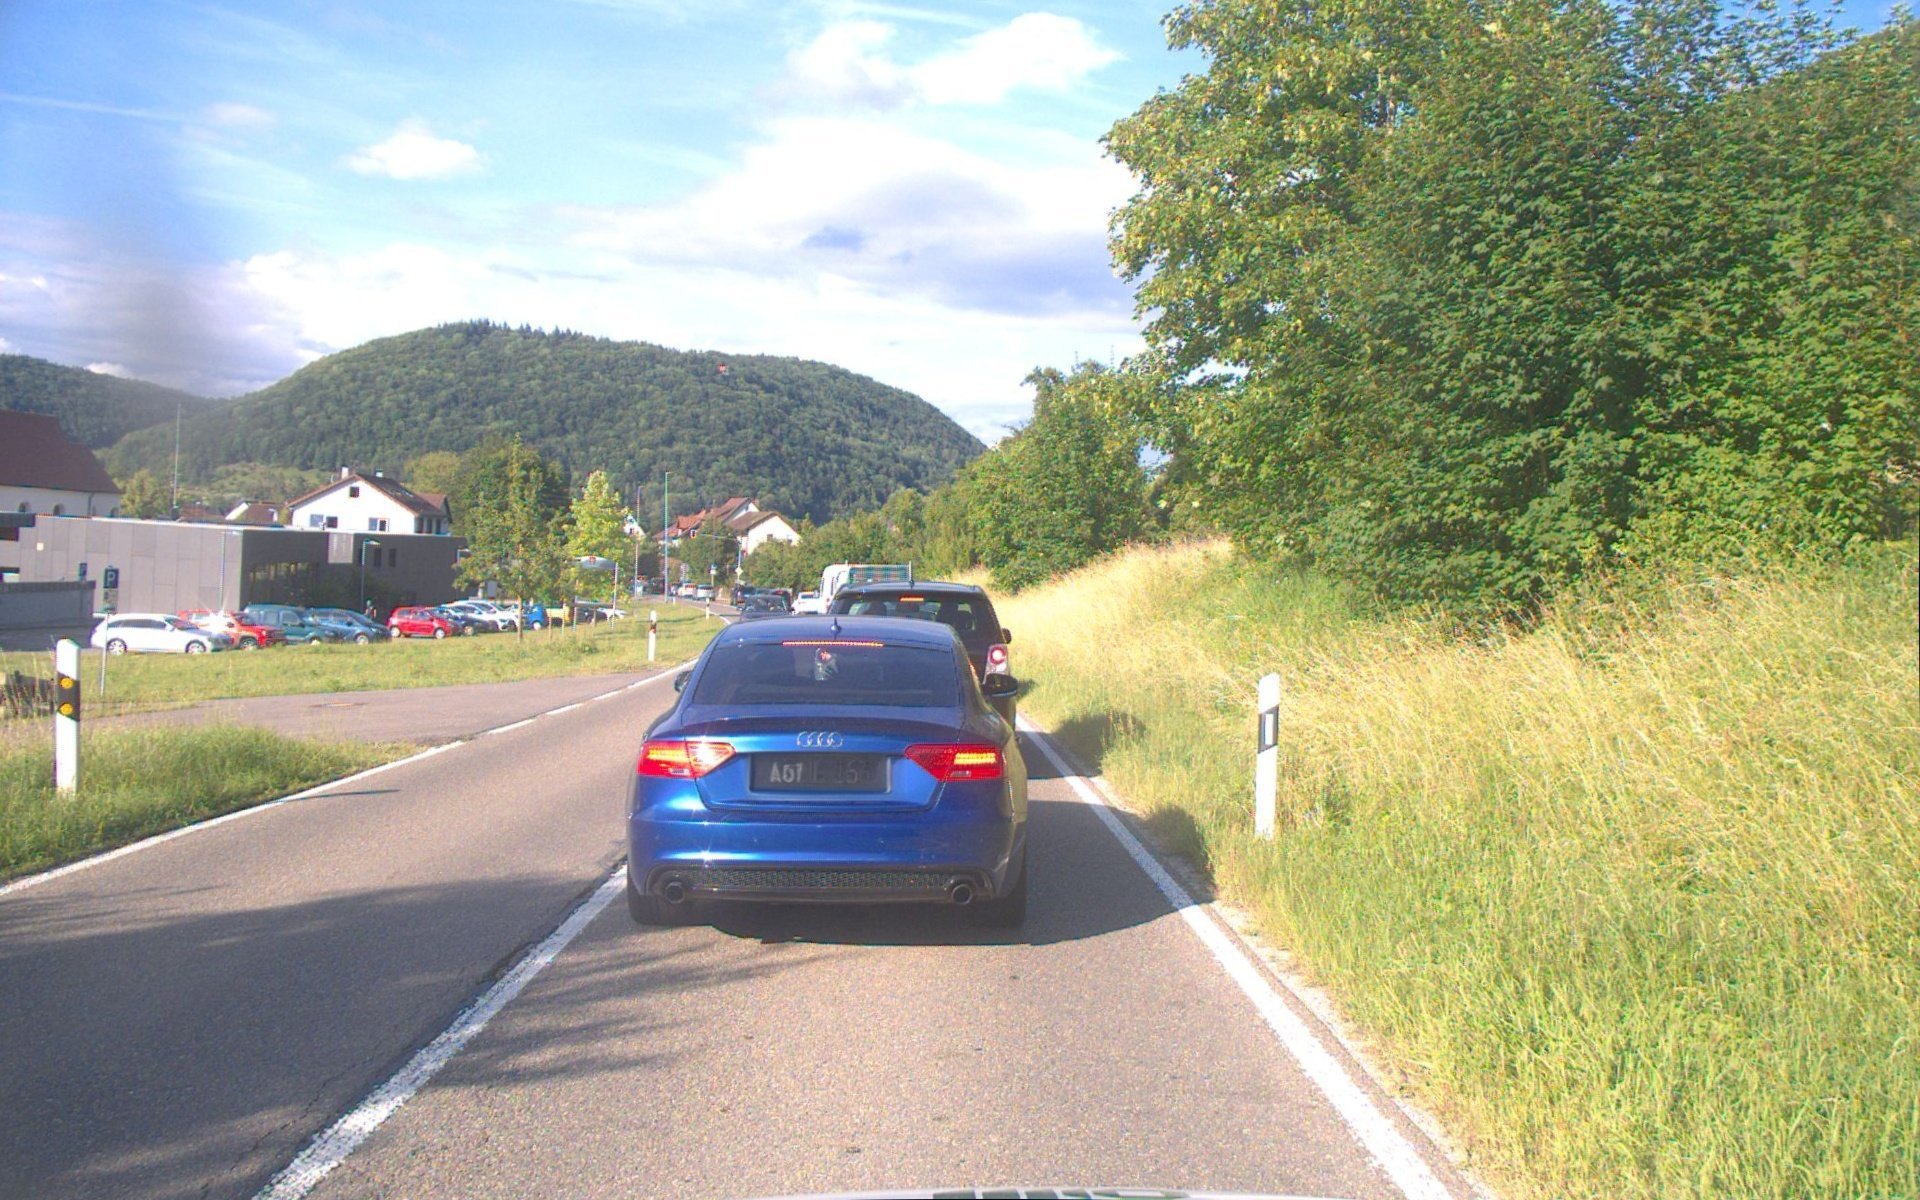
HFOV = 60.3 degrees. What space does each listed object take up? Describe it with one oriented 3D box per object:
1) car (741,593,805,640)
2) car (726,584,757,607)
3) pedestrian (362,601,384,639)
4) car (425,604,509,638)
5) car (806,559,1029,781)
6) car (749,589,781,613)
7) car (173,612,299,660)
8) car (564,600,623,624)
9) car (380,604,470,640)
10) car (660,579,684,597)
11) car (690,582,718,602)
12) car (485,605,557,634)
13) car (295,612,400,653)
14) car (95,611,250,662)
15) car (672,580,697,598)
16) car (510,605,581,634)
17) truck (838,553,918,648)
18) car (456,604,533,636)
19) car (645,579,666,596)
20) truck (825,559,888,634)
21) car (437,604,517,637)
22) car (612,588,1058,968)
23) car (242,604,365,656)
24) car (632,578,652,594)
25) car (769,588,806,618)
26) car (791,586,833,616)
[{"bbox_3d":[-6.068,0.541,54.061,1.669,1.455,4.049,1,0,-1],"label":"car"},{"bbox_3d":[-17.146,-0.313,129.756,1.816,1.742,3.982,1,0,-16],"label":"car"},{"bbox_3d":[-32.626,1.103,91.948,0.808,2.049,0.973,1,-1,-1],"label":"pedestrian"},{"bbox_3d":[-26.320,1.133,88.401,3.907,1.741,1.999,1,0,-3],"label":"car"},{"bbox_3d":[-0.331,0.559,14.896,1.718,1.710,3.846,1,0,0],"label":"car"},{"bbox_3d":[-14.107,0.072,119.679,1.814,1.742,3.985,1,0,-14],"label":"car"},{"bbox_3d":[-27.650,1.362,63.222,3.907,1.741,1.999,1,0,-3],"label":"car"},{"bbox_3d":[-26.162,0.835,118.147,3.907,1.606,1.751,1,0,-3],"label":"car"},{"bbox_3d":[-27.102,1.096,83.809,3.907,1.741,1.999,1,0,-3],"label":"car"},{"bbox_3d":[-30.026,-1.240,172.401,1.817,1.742,3.979,1,0,-19],"label":"car"},{"bbox_3d":[-23.569,-0.737,152.159,1.819,1.742,3.976,1,0,-20],"label":"car"},{"bbox_3d":[-26.832,1.189,101.121,3.907,1.741,1.999,1,0,-3],"label":"car"},{"bbox_3d":[-27.020,1.423,73.079,3.907,1.741,1.999,1,0,-3],"label":"car"},{"bbox_3d":[-28.639,1.331,60.262,4.637,1.741,1.999,1,0,-3],"label":"car"},{"bbox_3d":[-27.015,-1.089,162.345,1.817,1.742,3.979,1,0,-19],"label":"car"},{"bbox_3d":[-25.957,1.217,103.674,3.907,1.741,1.999,1,0,-3],"label":"car"},{"bbox_3d":[-2.460,0.021,49.154,2.185,2.615,6.099,1,0,-3],"label":"truck"},{"bbox_3d":[-26.799,1.160,95.334,3.907,1.741,1.999,1,0,-3],"label":"car"},{"bbox_3d":[-33.778,-1.368,183.428,1.817,1.742,3.979,1,0,-19],"label":"car"},{"bbox_3d":[-3.910,-0.102,61.721,2.186,2.615,6.701,1,0,-5],"label":"truck"},{"bbox_3d":[-26.846,1.143,92.049,3.907,1.741,1.999,1,0,-3],"label":"car"},{"bbox_3d":[-0.485,0.706,8.397,1.718,1.455,3.846,1,0,0],"label":"car"},{"bbox_3d":[-27.360,1.235,69.066,4.318,2.043,1.999,1,0,-3],"label":"car"},{"bbox_3d":[-37.171,-1.609,193.353,1.817,1.742,3.979,1,0,-19],"label":"car"},{"bbox_3d":[-10.573,0.178,101.222,1.813,1.742,3.987,1,0,-12],"label":"car"},{"bbox_3d":[-7.931,0.047,88.361,1.813,1.508,3.988,1,0,-12],"label":"car"}]
